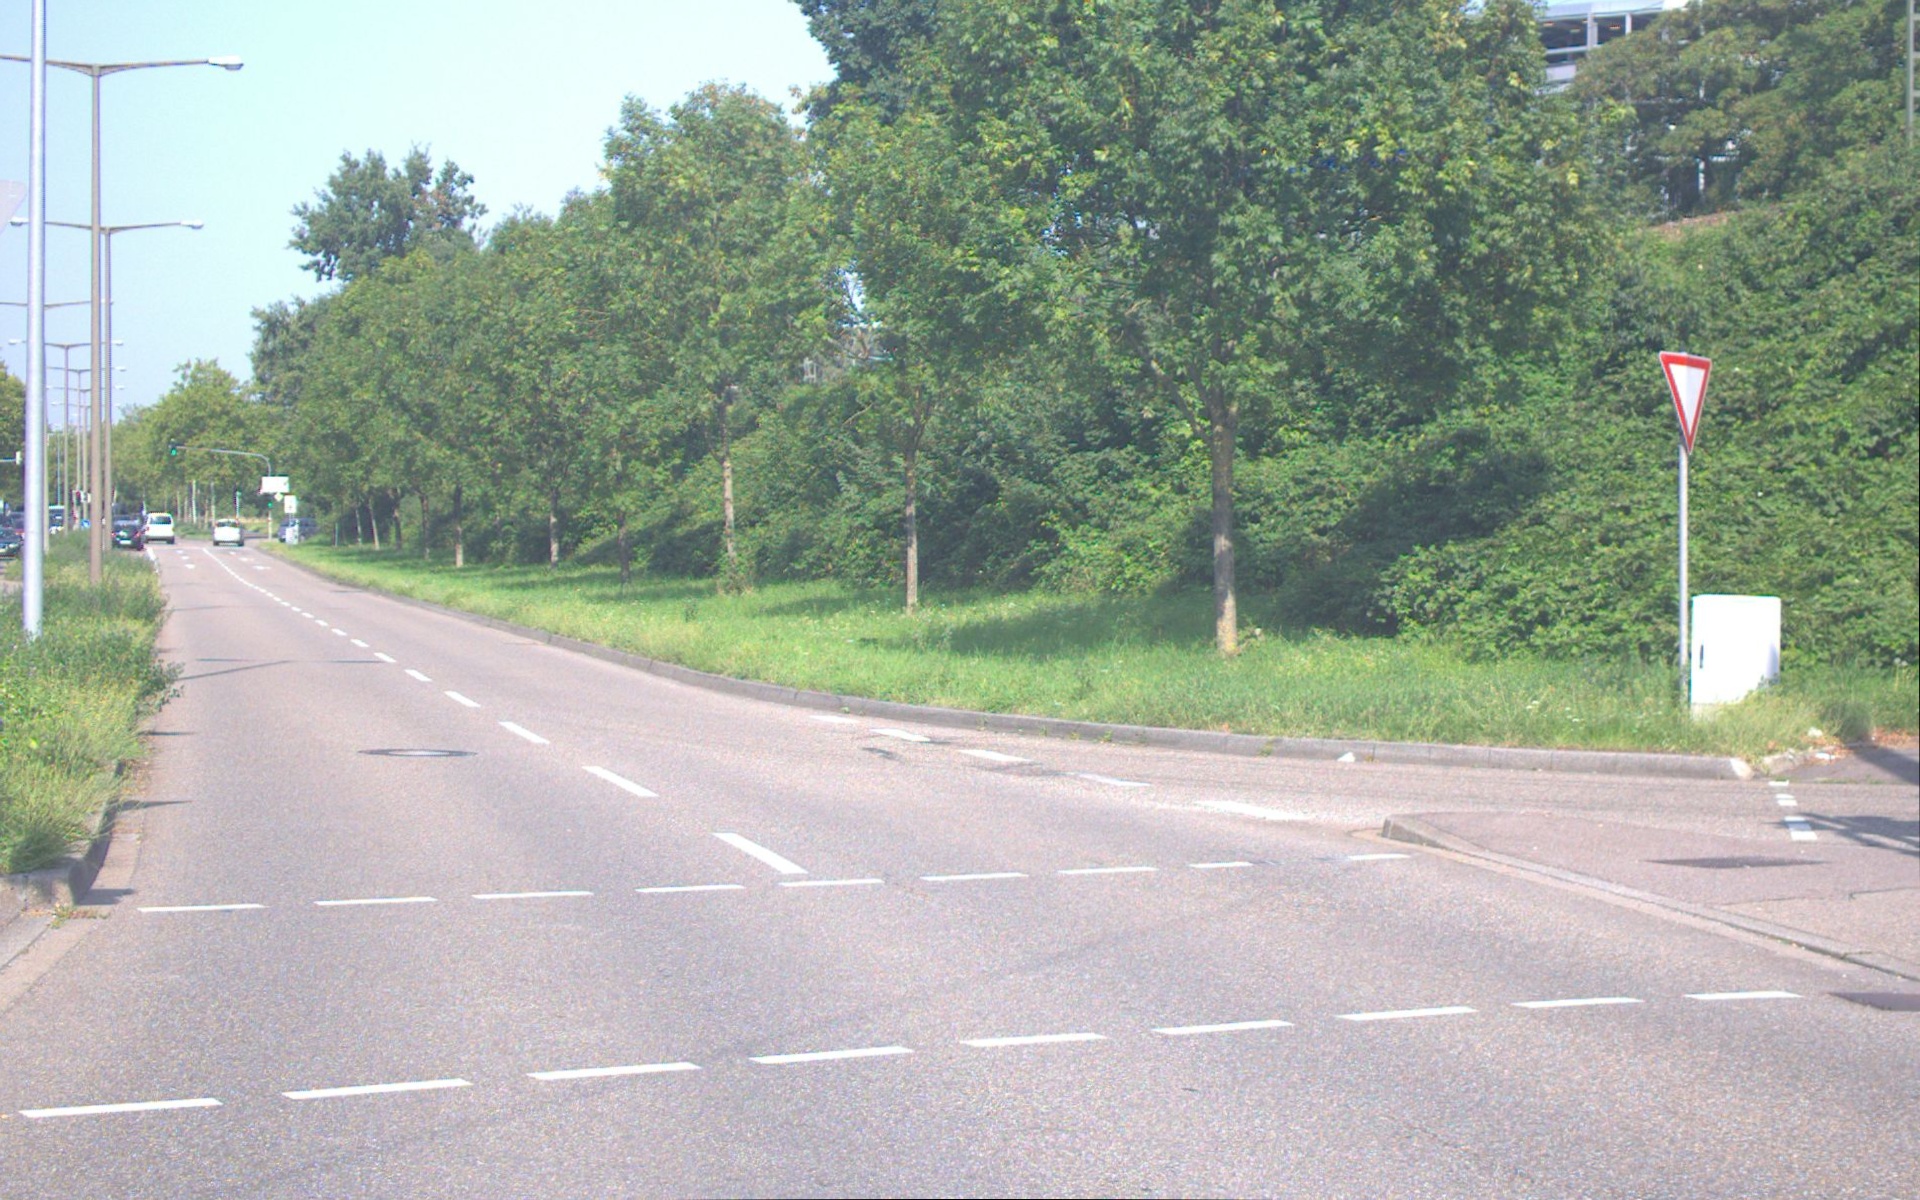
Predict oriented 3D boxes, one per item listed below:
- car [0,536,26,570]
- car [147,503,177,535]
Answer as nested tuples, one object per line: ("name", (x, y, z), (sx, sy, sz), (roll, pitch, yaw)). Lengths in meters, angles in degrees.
("car", (-43.361, -2.133, 156.113), (1.746, 1.474, 4.588), (-2, 1, -15))
("car", (-48.071, -4.878, 207.088), (1.761, 1.898, 3.791), (1, 1, -13))
